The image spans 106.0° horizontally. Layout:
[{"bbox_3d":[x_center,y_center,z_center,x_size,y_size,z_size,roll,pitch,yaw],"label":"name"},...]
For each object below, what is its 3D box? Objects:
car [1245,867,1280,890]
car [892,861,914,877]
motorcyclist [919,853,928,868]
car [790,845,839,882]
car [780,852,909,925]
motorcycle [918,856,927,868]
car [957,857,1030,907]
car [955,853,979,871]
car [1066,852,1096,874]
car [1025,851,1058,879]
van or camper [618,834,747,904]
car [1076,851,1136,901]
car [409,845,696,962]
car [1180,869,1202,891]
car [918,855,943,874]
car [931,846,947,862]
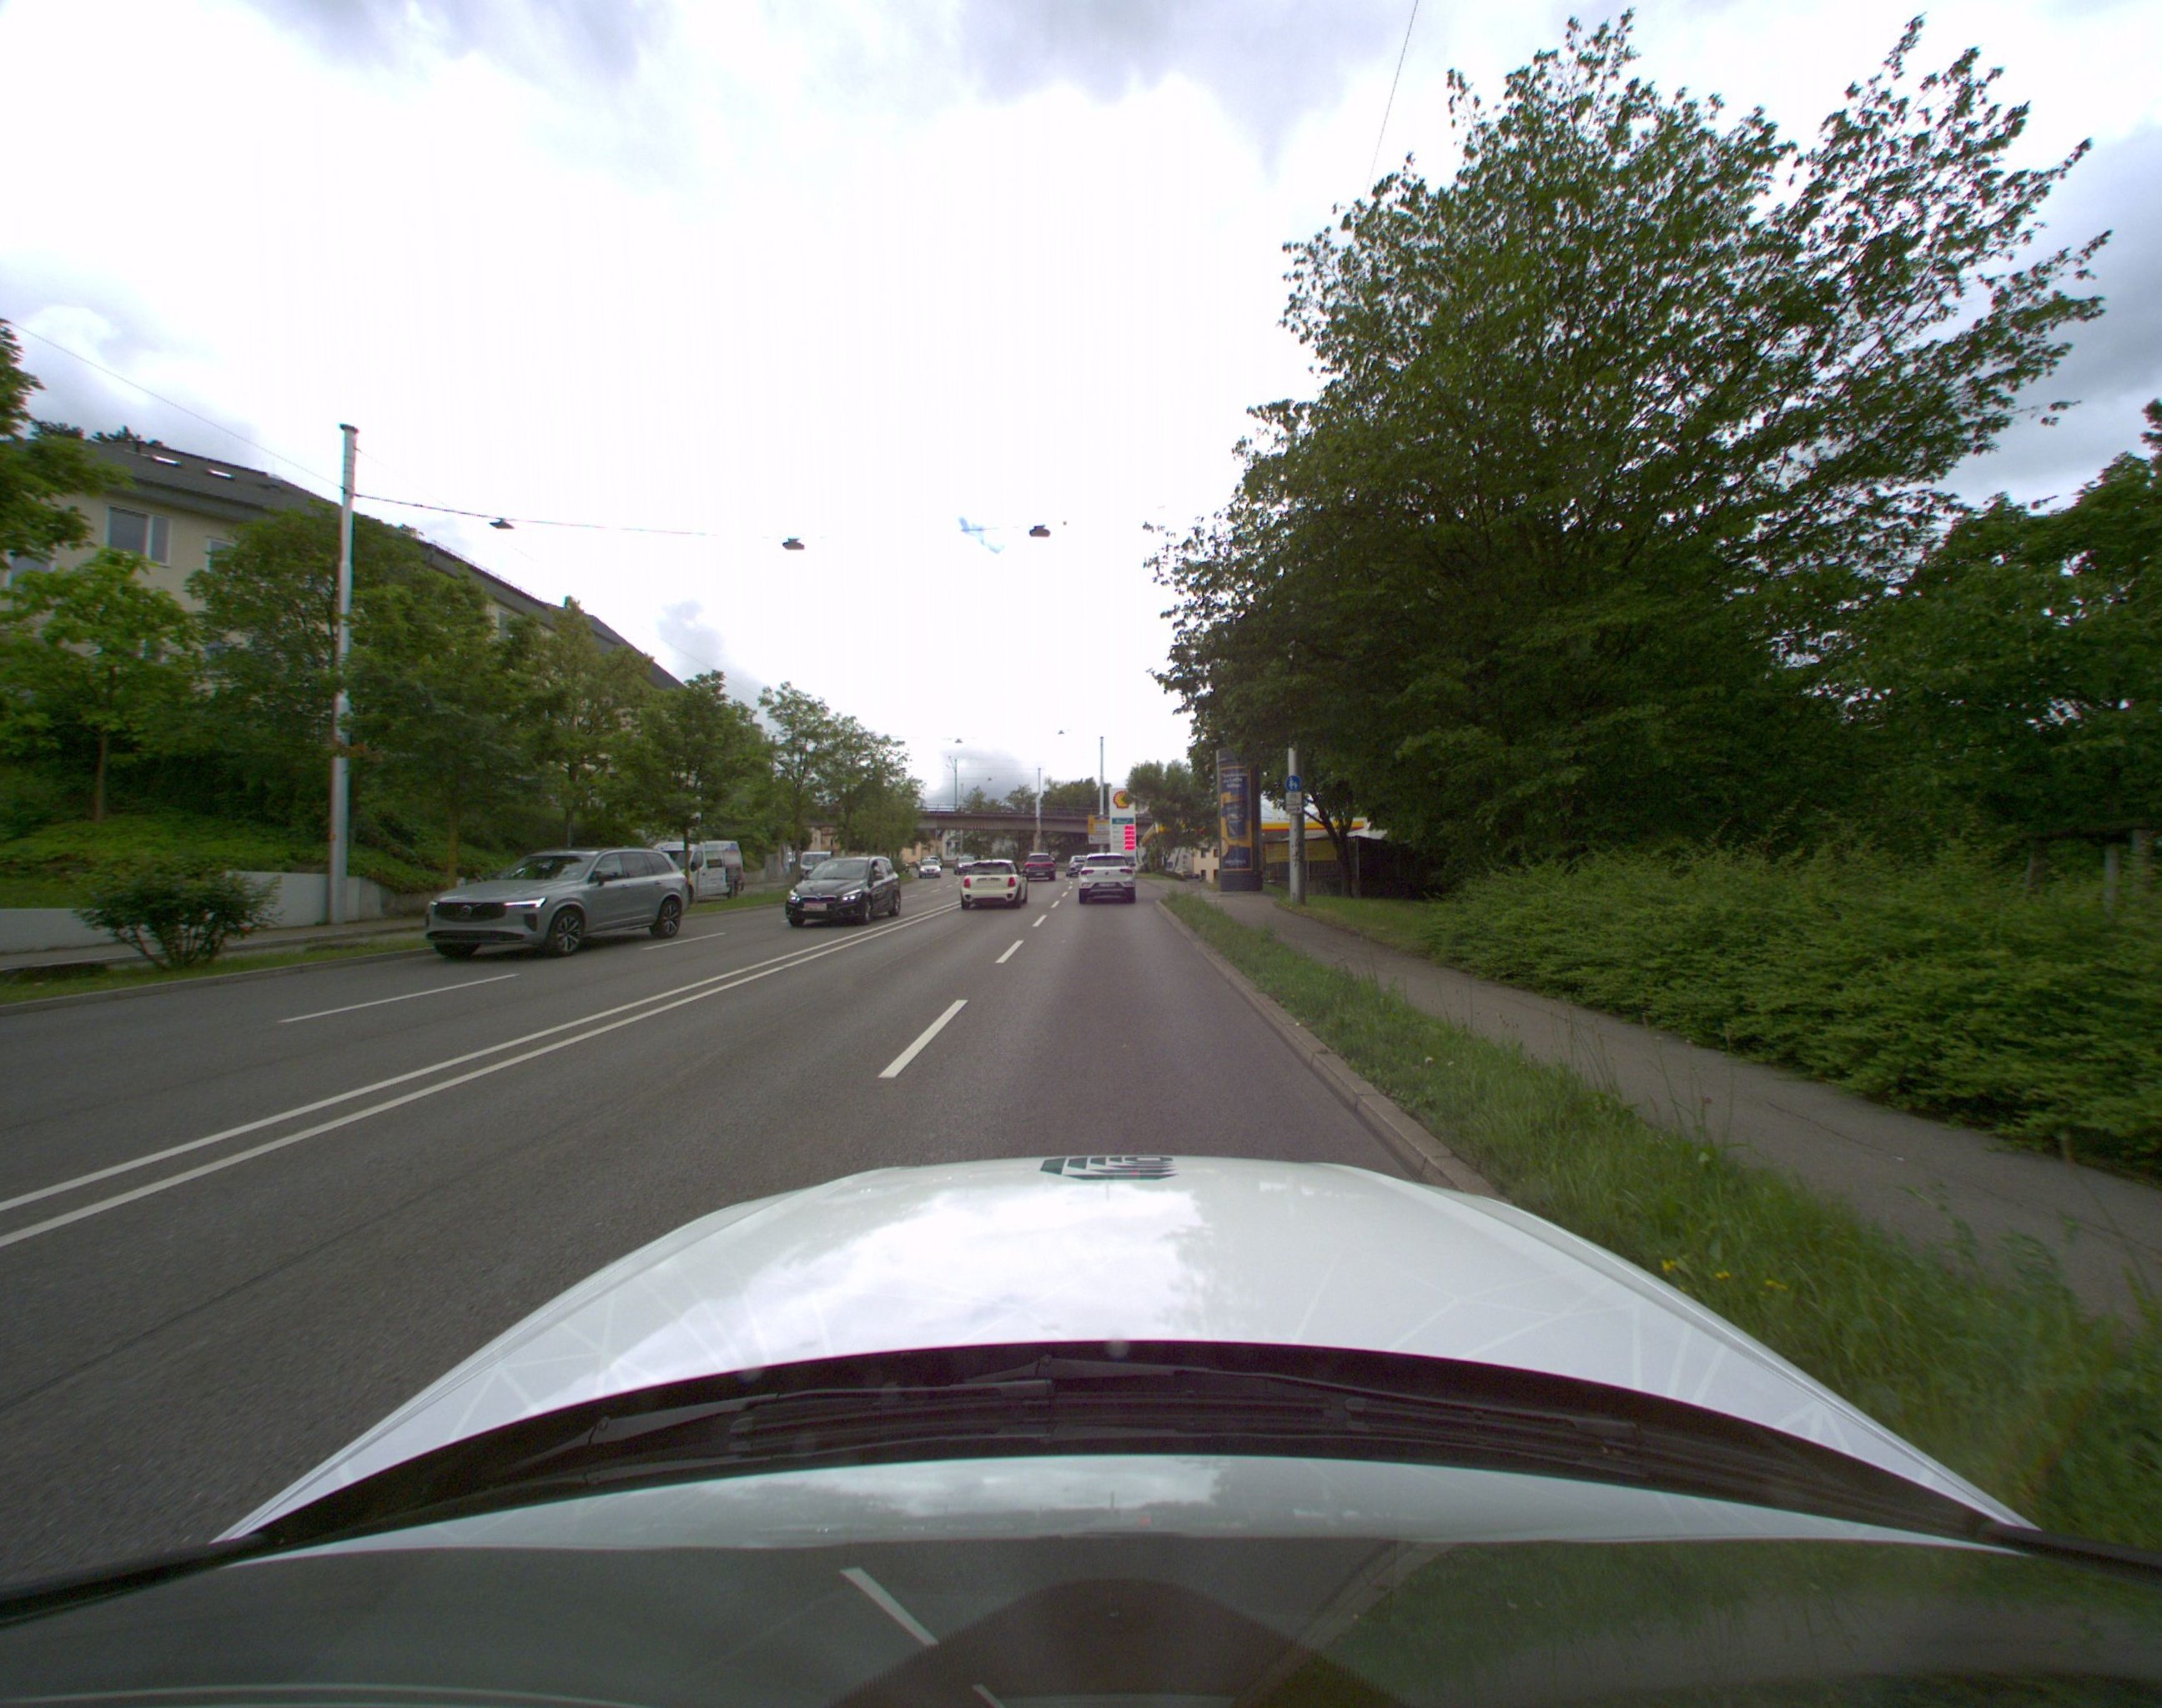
[{"bbox_3d":[12.607,1.723,56.766,1.728,1.486,3.880,-2,-4,4],"label":"car"},{"bbox_3d":[-19.322,1.611,88.353,1.790,1.575,4.439,-2,0,-19],"label":"car"},{"bbox_3d":[-17.346,0.725,89.660,0.803,1.556,0.994,-1,0,-18],"label":"motorcyclist"},{"bbox_3d":[-17.823,0.641,54.710,2.268,2.273,6.303,-1,0,-11],"label":"car"},{"bbox_3d":[-5.655,0.747,20.043,1.757,1.592,4.368,0,0,2],"label":"car"},{"bbox_3d":[-17.432,0.895,89.519,0.592,1.305,2.442,-1,0,-18],"label":"motorcycle"},{"bbox_3d":[-2.567,0.801,24.649,1.716,1.376,3.458,0,0,2],"label":"car"},{"bbox_3d":[-10.120,0.701,72.415,1.782,1.538,4.069,-1,0,-4],"label":"car"},{"bbox_3d":[-0.024,0.591,55.031,1.673,1.409,3.450,0,0,-5],"label":"car"},{"bbox_3d":[-2.307,0.637,48.406,1.716,1.640,3.458,0,0,2],"label":"car"},{"bbox_3d":[-15.616,0.554,32.348,1.985,2.473,5.714,-1,0,3],"label":"van or camper"},{"bbox_3d":[0.819,0.664,26.189,1.790,1.519,3.458,0,0,2],"label":"car"},{"bbox_3d":[-8.890,0.720,14.366,1.757,1.708,4.872,0,0,2],"label":"car"},{"bbox_3d":[10.732,2.596,79.507,1.728,2.011,4.716,-1,-4,4],"label":"car"},{"bbox_3d":[-12.046,0.845,65.375,1.562,1.431,3.886,0,0,-3],"label":"car"},{"bbox_3d":[-17.233,0.030,99.139,1.897,1.937,3.987,-1,0,-10],"label":"car"}]
